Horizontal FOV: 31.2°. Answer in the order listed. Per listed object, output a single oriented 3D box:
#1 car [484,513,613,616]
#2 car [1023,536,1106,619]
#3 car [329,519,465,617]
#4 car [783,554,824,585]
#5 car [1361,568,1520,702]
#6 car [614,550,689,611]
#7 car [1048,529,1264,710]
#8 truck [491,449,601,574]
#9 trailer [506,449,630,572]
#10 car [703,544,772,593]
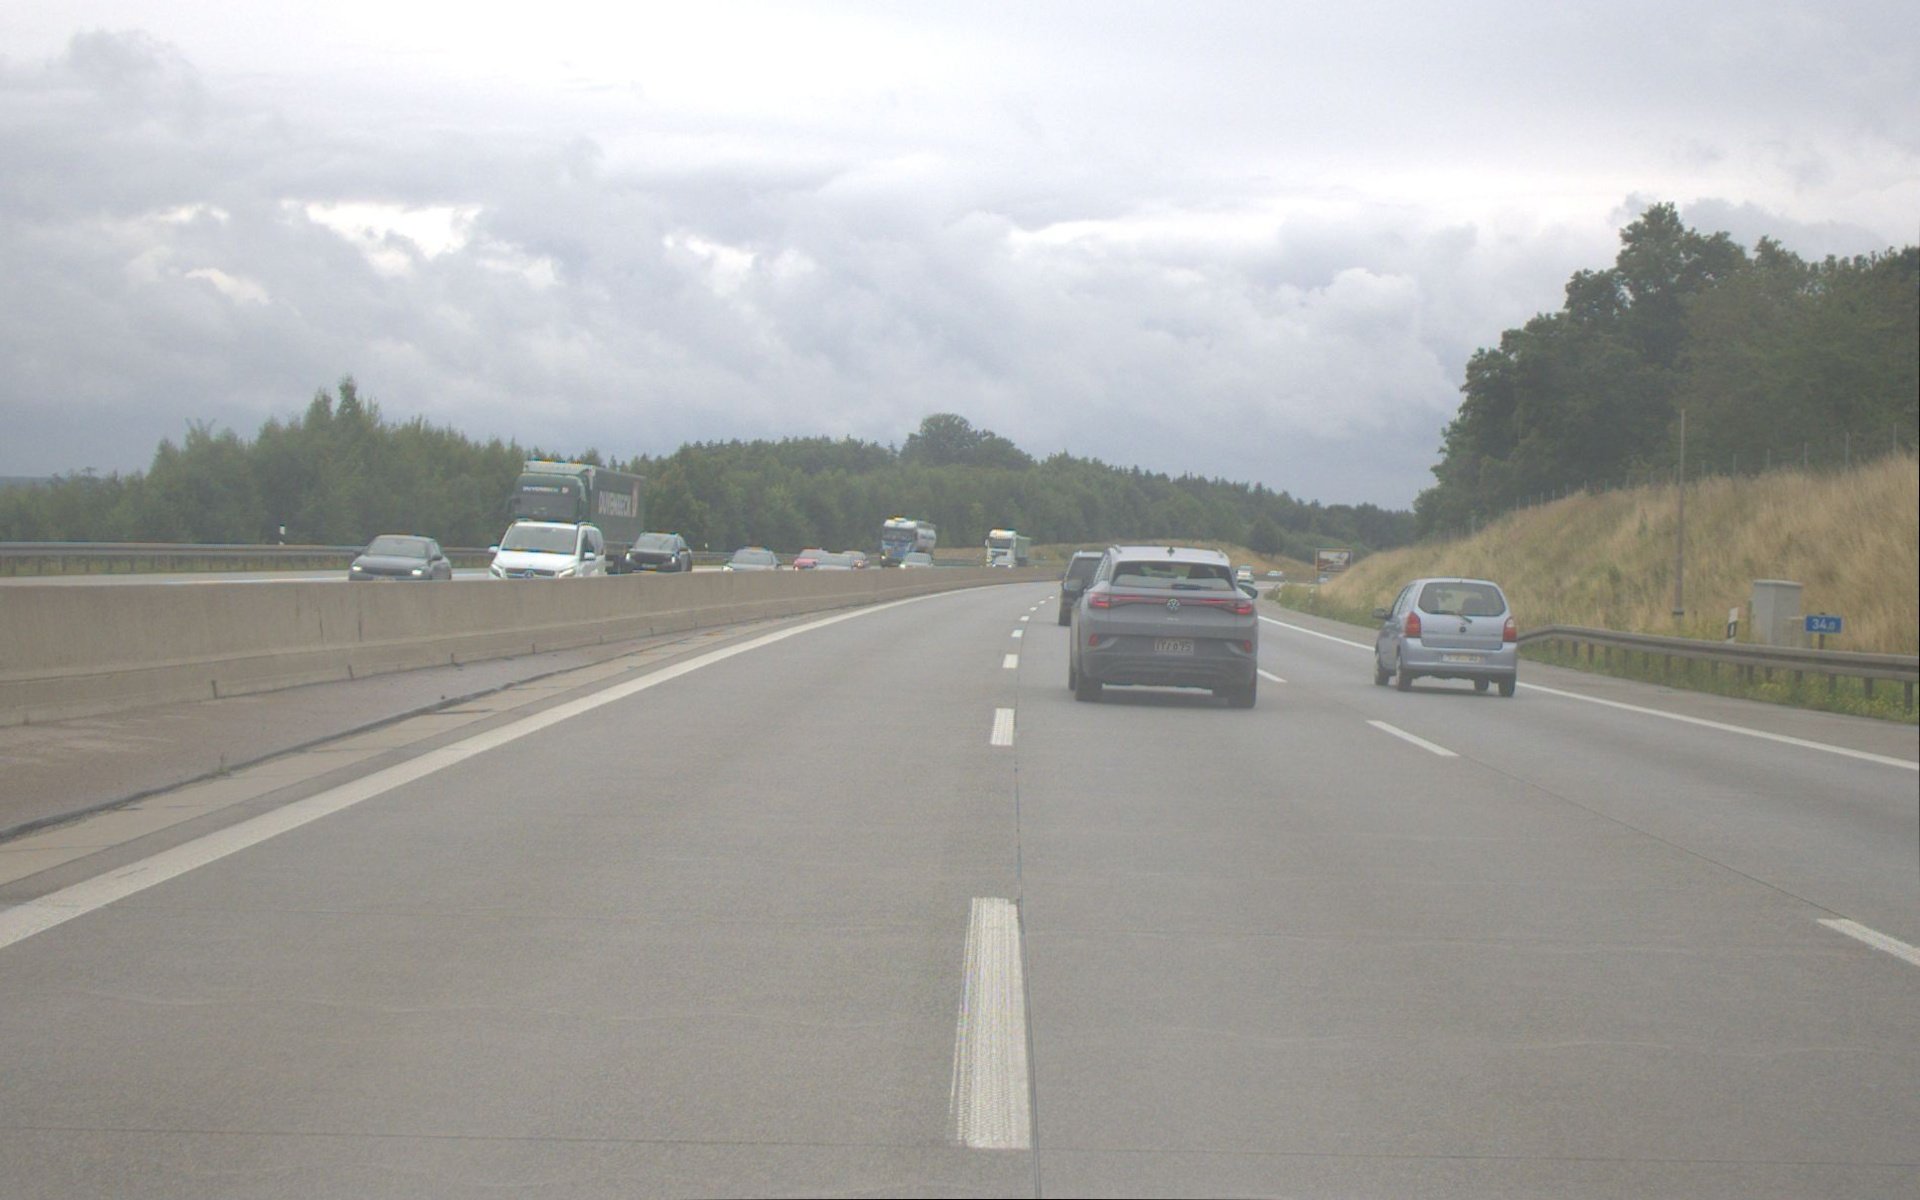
[{"bbox_3d":[-8.629,-0.791,72.539,1.914,2.006,5.924,1,2,1],"label":"car"},{"bbox_3d":[2.369,-0.522,77.399,1.785,1.741,3.915,1,2,3],"label":"car"},{"bbox_3d":[-12.420,-0.742,76.194,1.914,2.006,5.924,1,2,1],"label":"car"},{"bbox_3d":[-8.174,-1.597,179.788,1.718,1.503,4.486,2,0,2],"label":"car"},{"bbox_3d":[6.076,0.409,43.723,1.485,1.465,3.505,3,2,1],"label":"car"},{"bbox_3d":[-10.782,-0.701,120.358,1.993,1.967,5.331,1,2,2],"label":"car"},{"bbox_3d":[1.993,0.137,36.421,1.898,1.684,5.267,1,2,-1],"label":"car"},{"bbox_3d":[-15.032,-3.239,125.327,2.789,4.248,6.049,4,2,2],"label":"truck"},{"bbox_3d":[-14.827,-3.448,131.032,2.765,4.267,12.168,4,2,1],"label":"trailer"},{"bbox_3d":[-7.432,-1.058,114.982,1.993,1.514,4.398,1,2,0],"label":"car"}]
